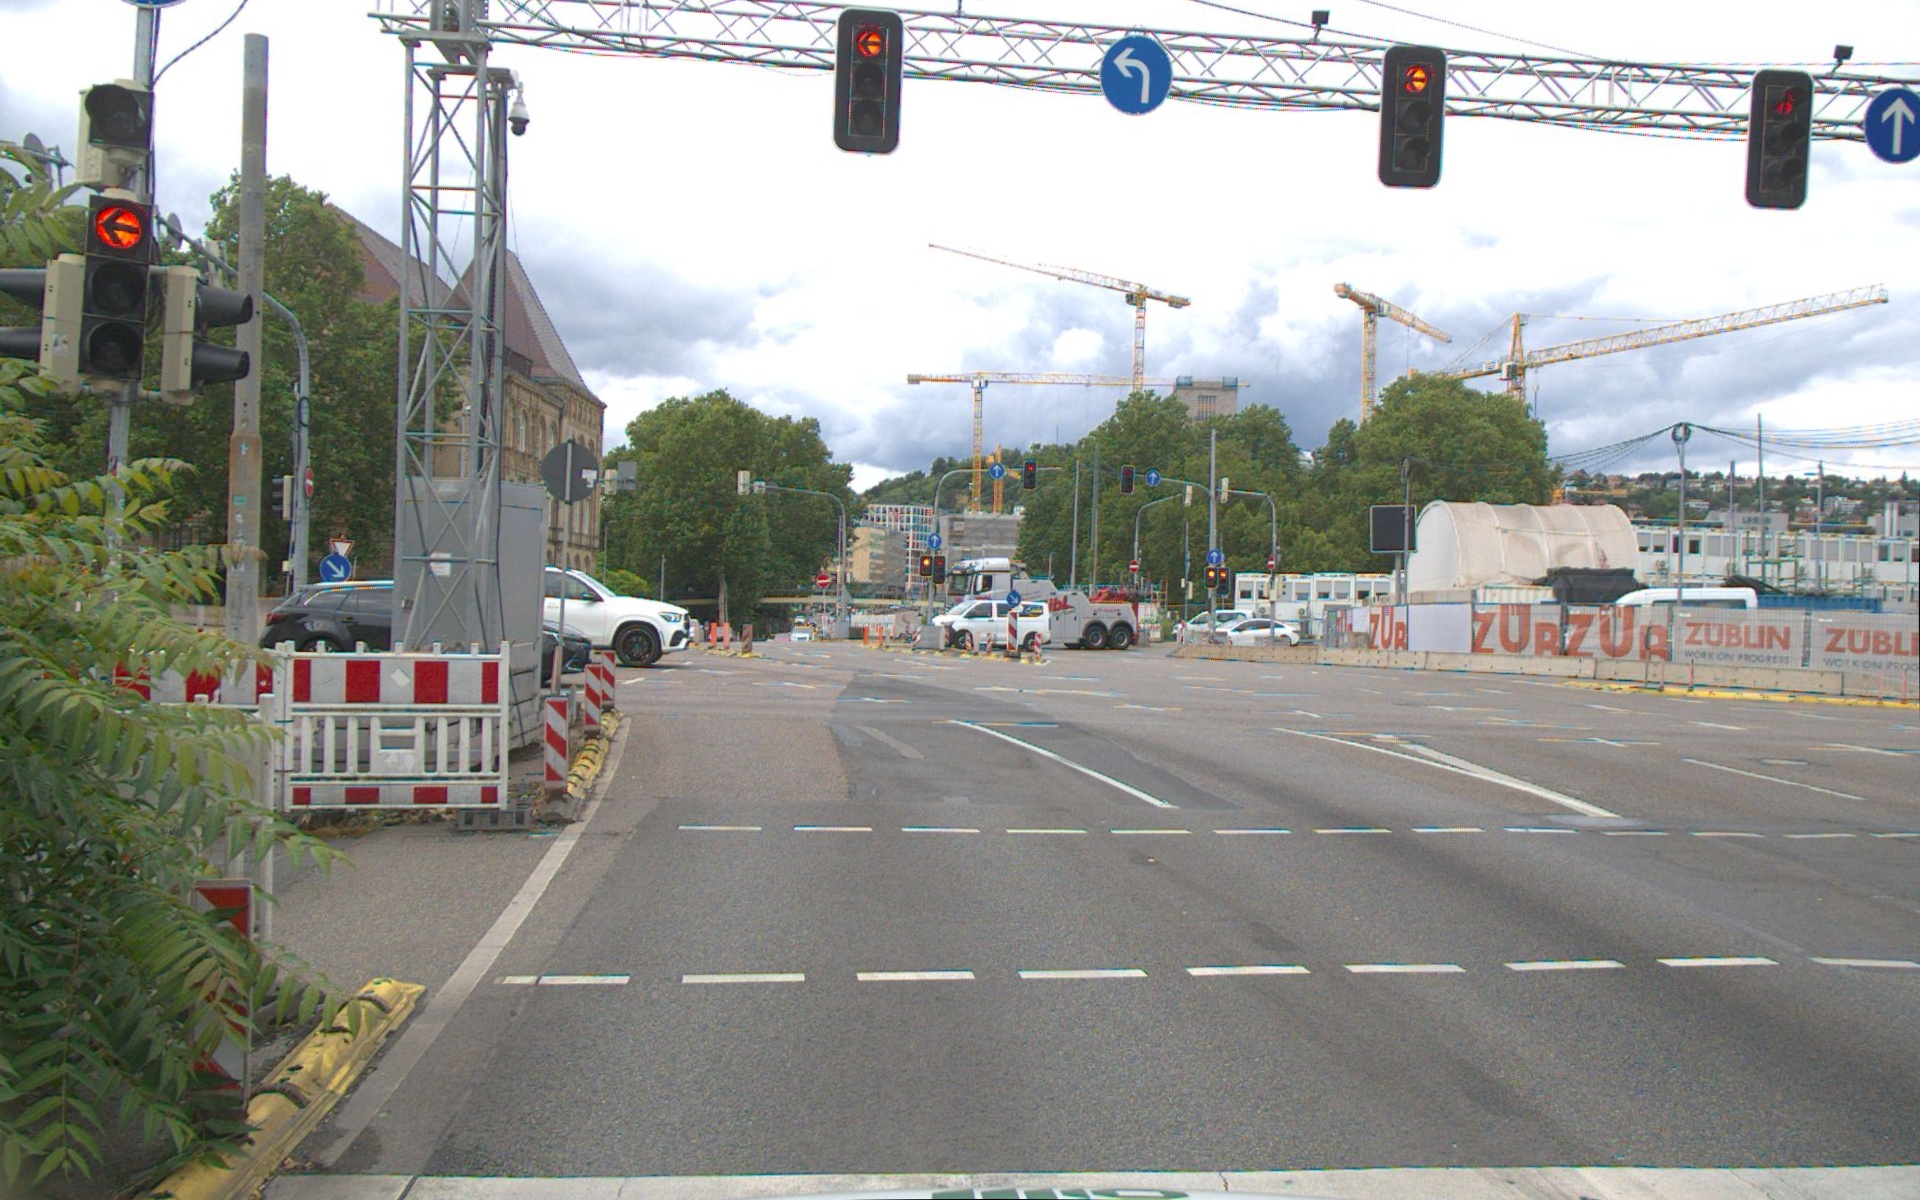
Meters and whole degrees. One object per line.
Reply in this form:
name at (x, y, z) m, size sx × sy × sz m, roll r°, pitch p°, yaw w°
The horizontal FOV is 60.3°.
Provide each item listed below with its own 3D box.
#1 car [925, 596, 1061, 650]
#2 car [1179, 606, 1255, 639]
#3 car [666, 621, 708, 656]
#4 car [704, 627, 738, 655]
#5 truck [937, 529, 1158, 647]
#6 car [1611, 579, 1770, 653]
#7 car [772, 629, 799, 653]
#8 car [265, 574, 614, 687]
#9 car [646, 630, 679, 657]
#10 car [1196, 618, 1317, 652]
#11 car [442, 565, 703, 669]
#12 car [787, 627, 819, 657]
car at (1.335, 0.922, 66.300) m, size 5.061 × 2.049 × 2.062 m, roll 1°, pitch 0°, yaw -24°
car at (14.012, 1.209, 90.019) m, size 3.902 × 1.680 × 1.868 m, roll 1°, pitch 0°, yaw 15°
car at (-15.602, 2.199, 94.754) m, size 1.954 × 1.870 × 3.997 m, roll 1°, pitch 0°, yaw -3°
car at (-16.686, 2.844, 115.767) m, size 1.954 × 1.870 × 3.997 m, roll 1°, pitch 0°, yaw -3°
truck at (3.985, -0.458, 74.377) m, size 9.594 × 5.047 × 3.088 m, roll 1°, pitch -1°, yaw -26°
car at (21.054, 0.450, 47.819) m, size 3.902 × 2.049 × 2.001 m, roll 1°, pitch 0°, yaw 15°
car at (-14.110, 3.301, 133.869) m, size 1.954 × 1.870 × 3.997 m, roll 1°, pitch 0°, yaw -3°
car at (-7.398, 0.428, 23.898) m, size 4.400 × 1.492 × 1.999 m, roll 1°, pitch 0°, yaw -3°
car at (-22.150, 3.219, 123.326) m, size 1.954 × 1.870 × 3.997 m, roll 1°, pitch 0°, yaw -3°
car at (13.477, 1.586, 75.245) m, size 5.066 × 1.444 × 2.220 m, roll 1°, pitch 0°, yaw -24°
car at (-7.104, 0.315, 30.714) m, size 4.401 × 1.790 × 1.999 m, roll 1°, pitch 0°, yaw -4°
car at (-10.495, 2.779, 110.607) m, size 1.954 × 1.870 × 3.997 m, roll 1°, pitch 0°, yaw -3°
